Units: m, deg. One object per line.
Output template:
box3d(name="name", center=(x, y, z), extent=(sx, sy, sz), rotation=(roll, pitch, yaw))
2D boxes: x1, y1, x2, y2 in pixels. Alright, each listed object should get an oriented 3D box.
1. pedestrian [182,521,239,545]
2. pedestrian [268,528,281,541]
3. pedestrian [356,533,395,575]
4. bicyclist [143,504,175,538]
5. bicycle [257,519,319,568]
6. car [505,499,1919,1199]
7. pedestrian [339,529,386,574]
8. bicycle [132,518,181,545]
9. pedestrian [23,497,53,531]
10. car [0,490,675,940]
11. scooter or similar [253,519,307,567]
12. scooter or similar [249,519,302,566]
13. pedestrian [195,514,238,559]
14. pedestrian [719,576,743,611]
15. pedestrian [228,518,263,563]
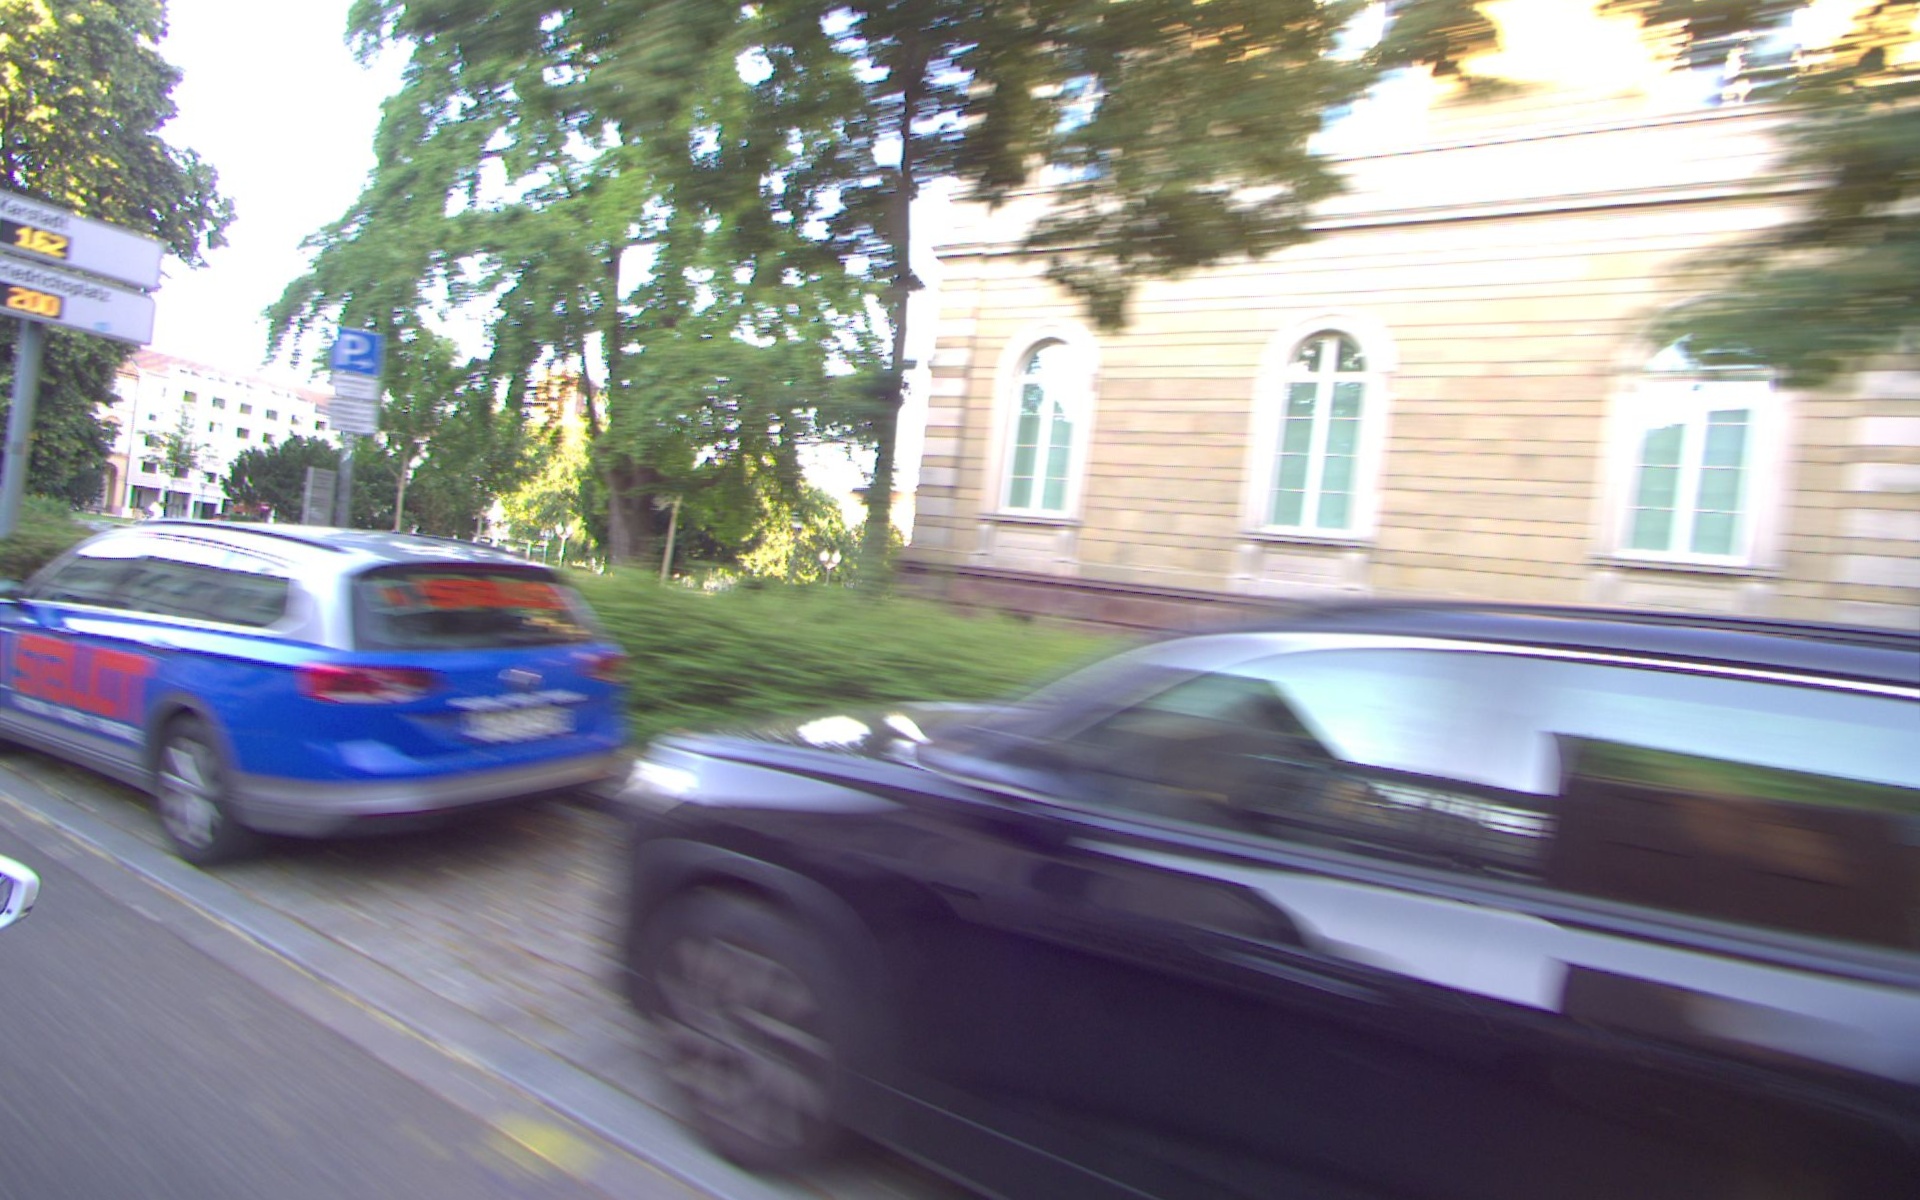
box3d(name="pedestrian", center=(-21.705, -1.937, 29.147), extent=(1.351, 0.557, 0.541), rotation=(6, 3, 12))
box3d(name="pedestrian", center=(-66.470, -6.359, 97.499), extent=(0.893, 1.091, 0.614), rotation=(7, 0, -42))
box3d(name="pedestrian", center=(-20.550, -1.611, 35.370), extent=(0.773, 1.364, 0.761), rotation=(7, 0, 15))
box3d(name="bicyclist", center=(-42.677, -4.193, 53.584), extent=(0.585, 1.653, 1.063), rotation=(7, 0, 25))
box3d(name="bicycle", center=(-21.092, -1.766, 31.577), extent=(1.983, 1.316, 0.620), rotation=(7, 1, 27))
box3d(name="car", center=(1.117, 0.796, 2.384), extent=(4.638, 1.672, 1.725), rotation=(6, 0, 34))
box3d(name="pedestrian", center=(-20.430, -1.643, 34.424), extent=(0.868, 1.364, 0.920), rotation=(7, 0, 16))
box3d(name="bicycle", center=(-42.763, -3.631, 53.565), extent=(0.585, 1.135, 1.933), rotation=(7, -1, 24))
box3d(name="pedestrian", center=(-39.750, -3.710, 43.367), extent=(0.804, 1.358, 0.598), rotation=(7, 0, 25))
box3d(name="car", center=(-3.901, 0.296, 5.576), extent=(4.532, 1.509, 1.724), rotation=(7, 3, 30))
box3d(name="scooter or similar", center=(-20.055, -1.660, 29.688), extent=(0.410, 1.261, 1.220), rotation=(7, 0, 18))
box3d(name="scooter or similar", center=(-20.490, -1.713, 30.136), extent=(0.410, 1.261, 1.221), rotation=(7, 0, 15))
box3d(name="pedestrian", center=(-22.134, -1.891, 29.948), extent=(0.735, 1.206, 0.722), rotation=(7, 0, 34))
box3d(name="pedestrian", center=(-12.399, -0.337, 54.530), extent=(0.745, 1.769, 0.772), rotation=(7, 1, 28))
box3d(name="pedestrian", center=(-20.894, -1.734, 29.428), extent=(0.657, 1.206, 0.789), rotation=(6, 0, -31))
